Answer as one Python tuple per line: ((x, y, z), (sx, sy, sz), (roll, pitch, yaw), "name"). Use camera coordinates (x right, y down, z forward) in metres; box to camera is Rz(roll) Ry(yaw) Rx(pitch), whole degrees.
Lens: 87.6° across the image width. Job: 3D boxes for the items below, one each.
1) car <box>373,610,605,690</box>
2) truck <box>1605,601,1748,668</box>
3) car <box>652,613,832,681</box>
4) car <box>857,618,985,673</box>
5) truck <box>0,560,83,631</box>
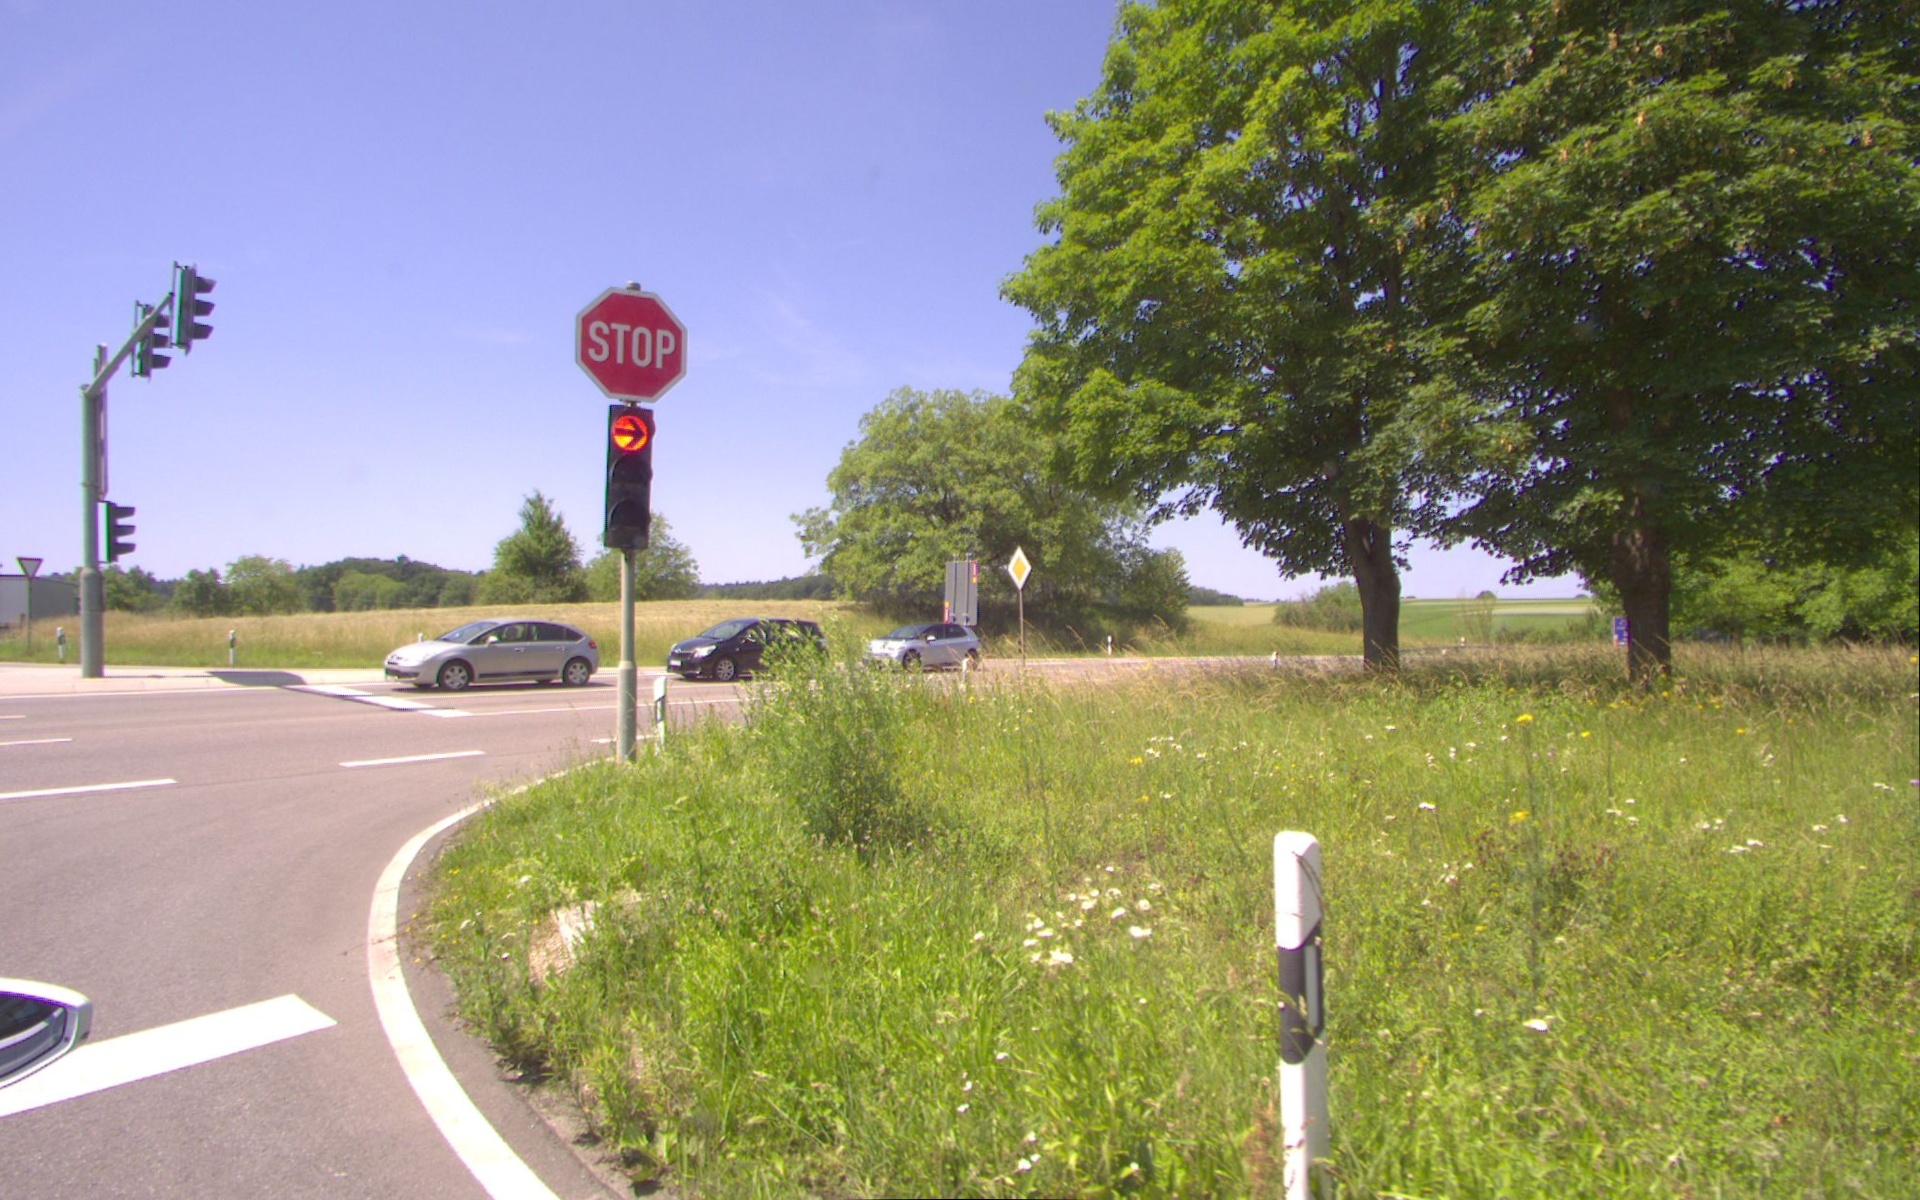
((-9.932, 1.036, 21.356), (1.709, 1.489, 4.138), (2, 0, 41), "car")
((48.936, 2.372, 68.035), (16.606, 4.185, 2.831), (2, -1, -36), "truck")
((-5.579, 1.209, 26.032), (1.711, 1.573, 4.344), (2, 0, 44), "car")
((-1.187, 1.431, 31.733), (1.637, 1.573, 3.986), (2, 0, 44), "car")
((-61.331, -0.156, 66.476), (3.097, 4.226, 16.569), (1, -1, -36), "truck")
